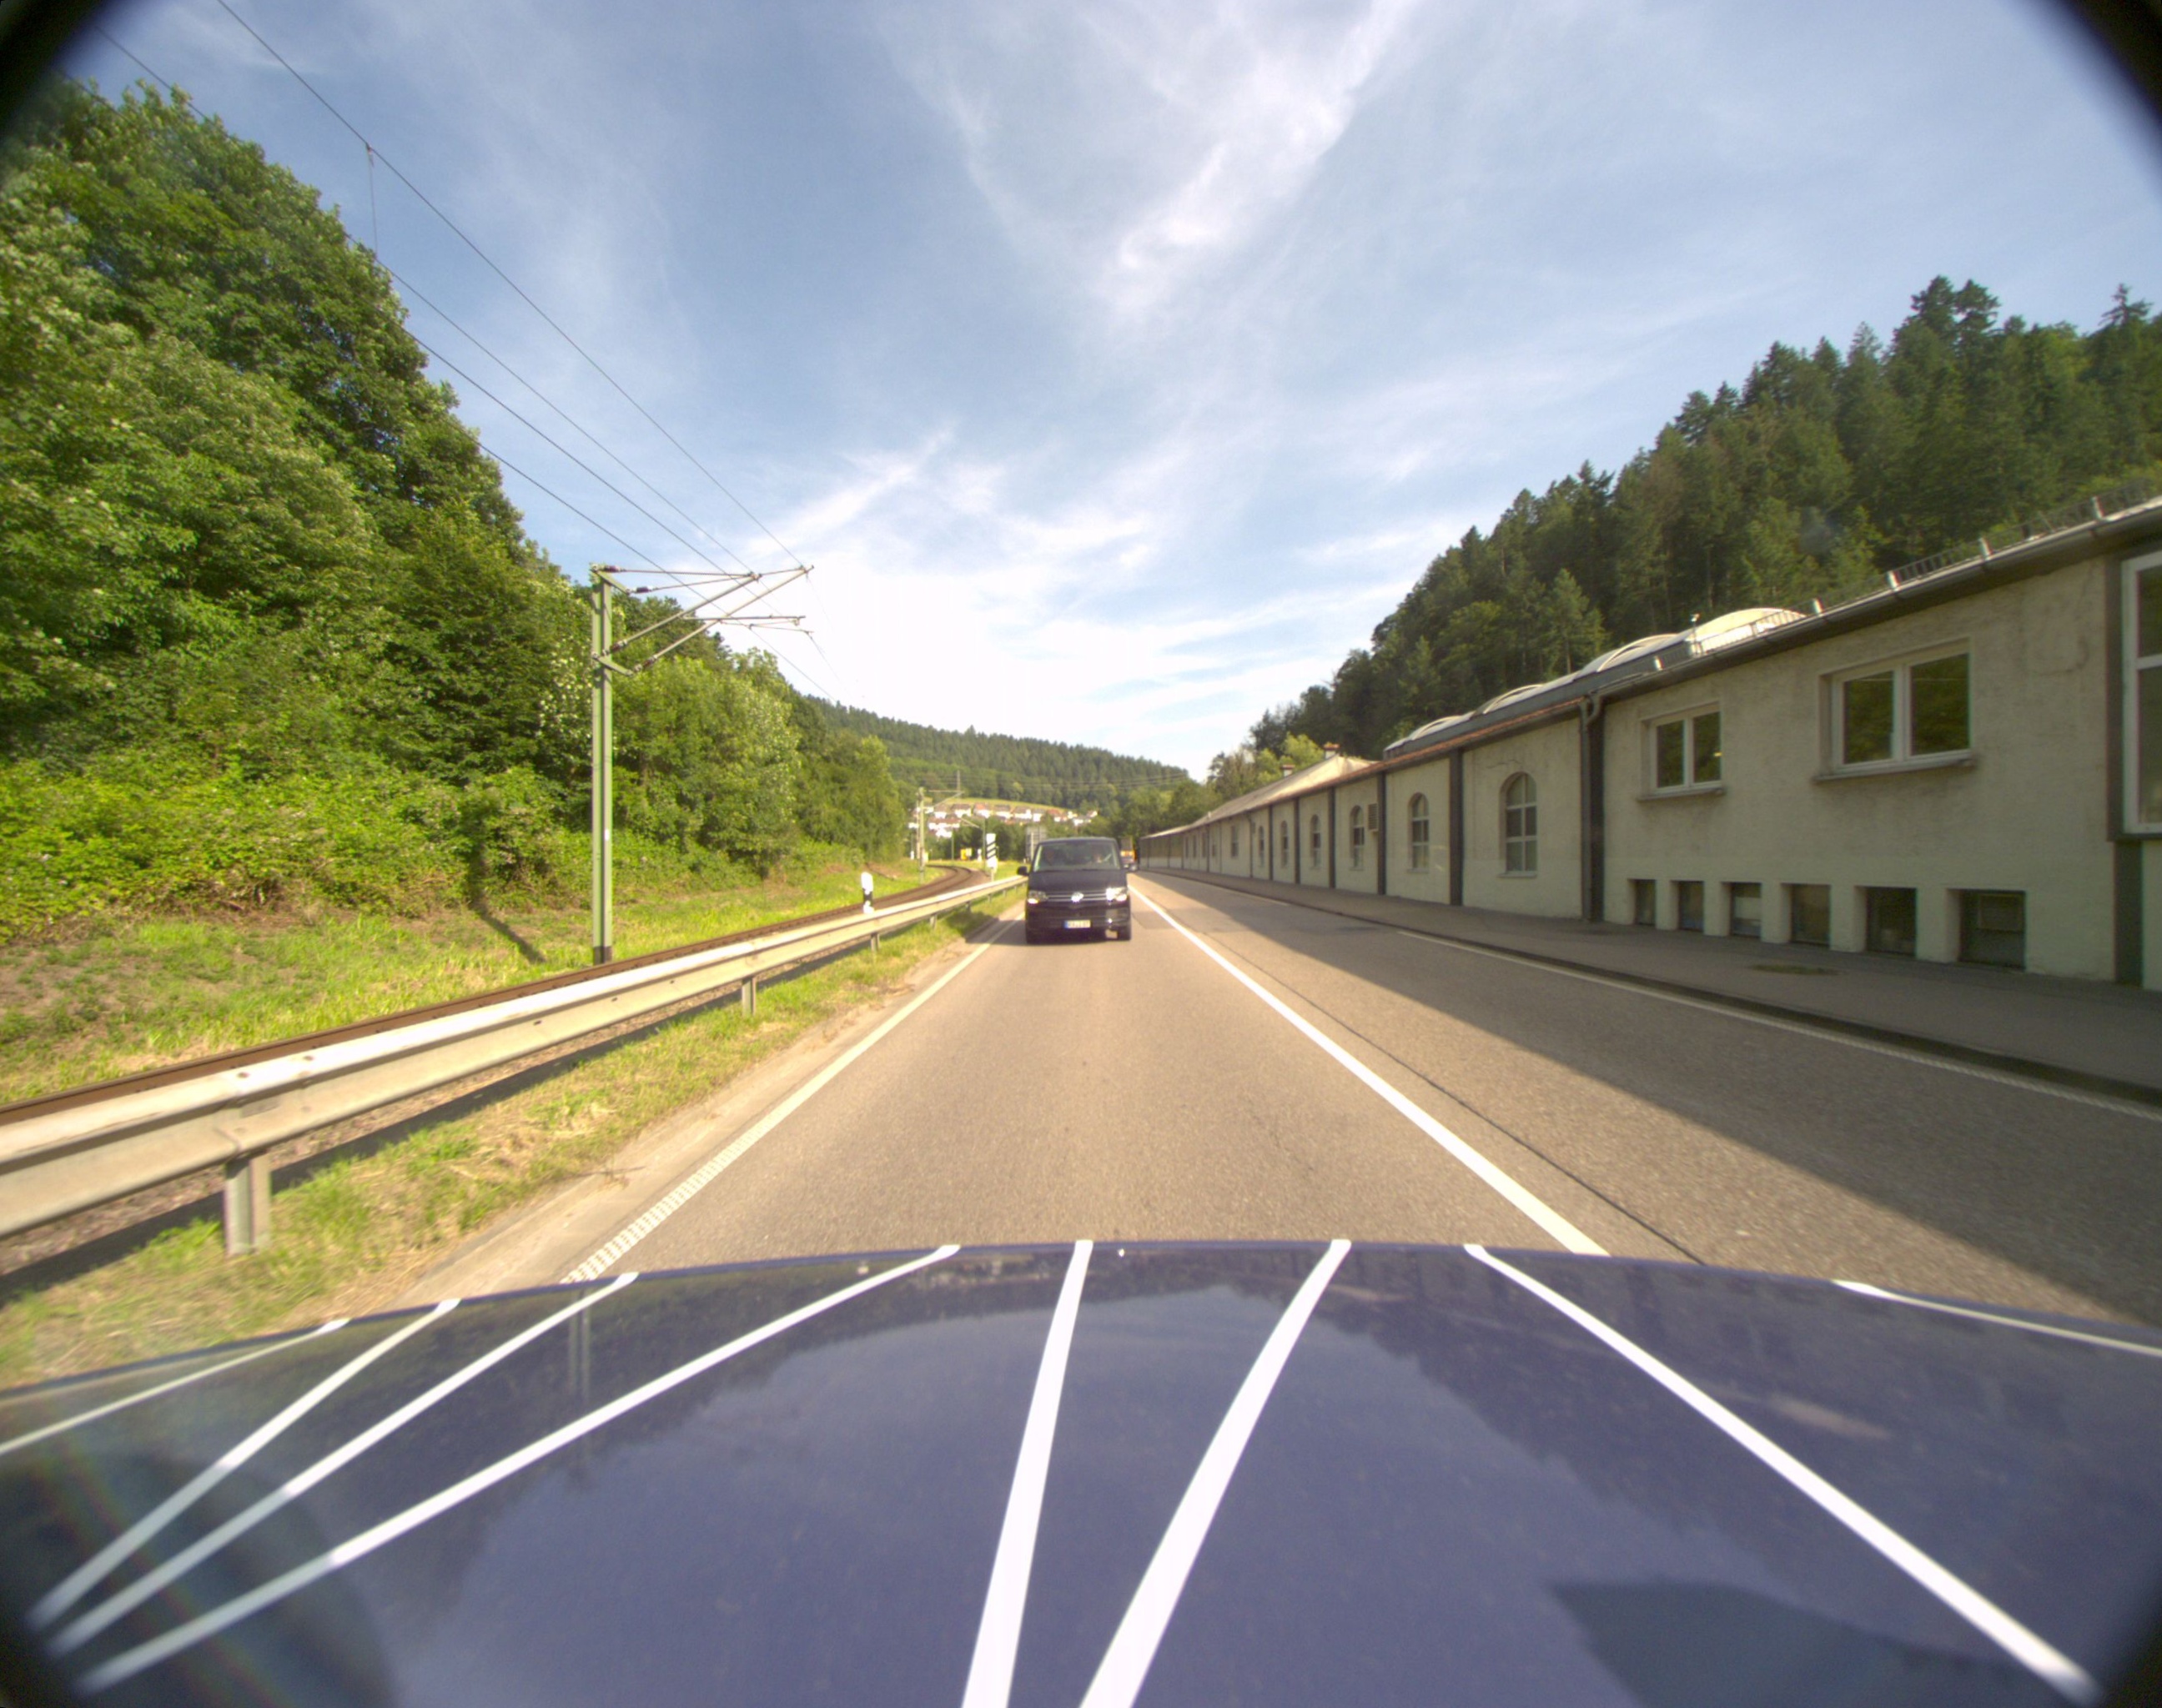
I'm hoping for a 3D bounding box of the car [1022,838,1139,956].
[{"bbox_3d":[-0.103,0.721,15.309,1.901,1.927,5.187,-1,0,-2],"label":"car"}]

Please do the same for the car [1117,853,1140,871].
[{"bbox_3d":[4.462,0.708,72.287,1.934,1.572,4.458,-3,0,1],"label":"car"}]
